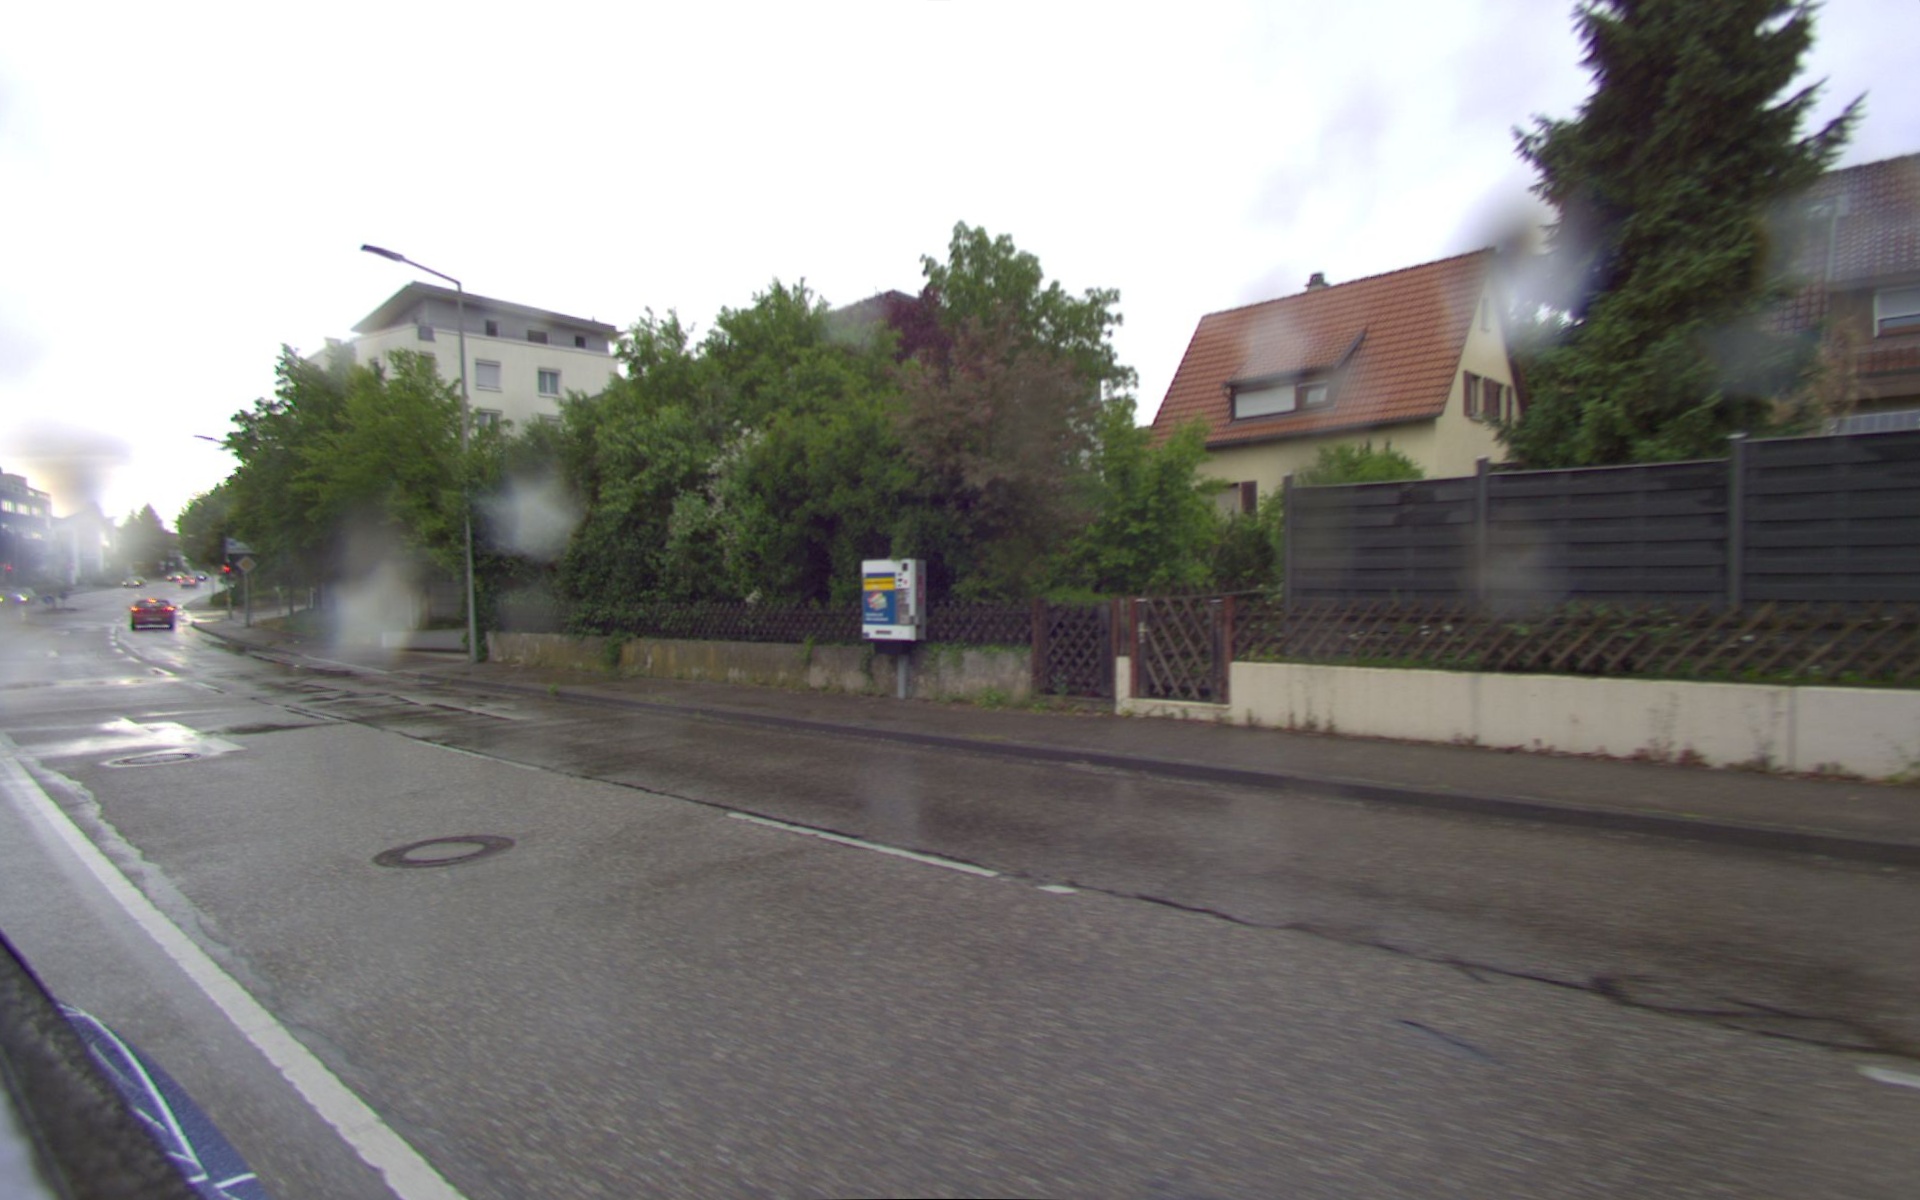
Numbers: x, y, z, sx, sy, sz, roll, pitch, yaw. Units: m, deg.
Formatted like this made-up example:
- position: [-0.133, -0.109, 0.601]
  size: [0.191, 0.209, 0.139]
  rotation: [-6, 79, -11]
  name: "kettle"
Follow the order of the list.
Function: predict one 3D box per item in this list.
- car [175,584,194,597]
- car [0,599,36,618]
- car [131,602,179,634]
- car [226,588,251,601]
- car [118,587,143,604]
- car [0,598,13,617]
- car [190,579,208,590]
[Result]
- position: [-105.109, -1.258, 137.173]
  size: [1.666, 1.566, 3.918]
  rotation: [-4, 4, -32]
  name: "car"
- position: [-84.857, 0.773, 91.071]
  size: [1.868, 1.556, 4.032]
  rotation: [-3, 2, -34]
  name: "car"
- position: [-40.155, 0.883, 50.456]
  size: [1.753, 1.518, 4.111]
  rotation: [1, 0, -40]
  name: "car"
- position: [-87.560, -0.712, 122.822]
  size: [1.708, 1.489, 4.034]
  rotation: [-3, 2, -26]
  name: "car"
- position: [-112.851, -0.601, 137.693]
  size: [1.967, 2.028, 4.012]
  rotation: [-6, 5, -31]
  name: "car"
- position: [-80.250, 0.616, 84.063]
  size: [1.726, 1.489, 4.010]
  rotation: [-3, 2, -36]
  name: "car"
- position: [-120.625, -2.493, 160.356]
  size: [1.799, 1.699, 4.012]
  rotation: [-1, 1, -30]
  name: "car"
